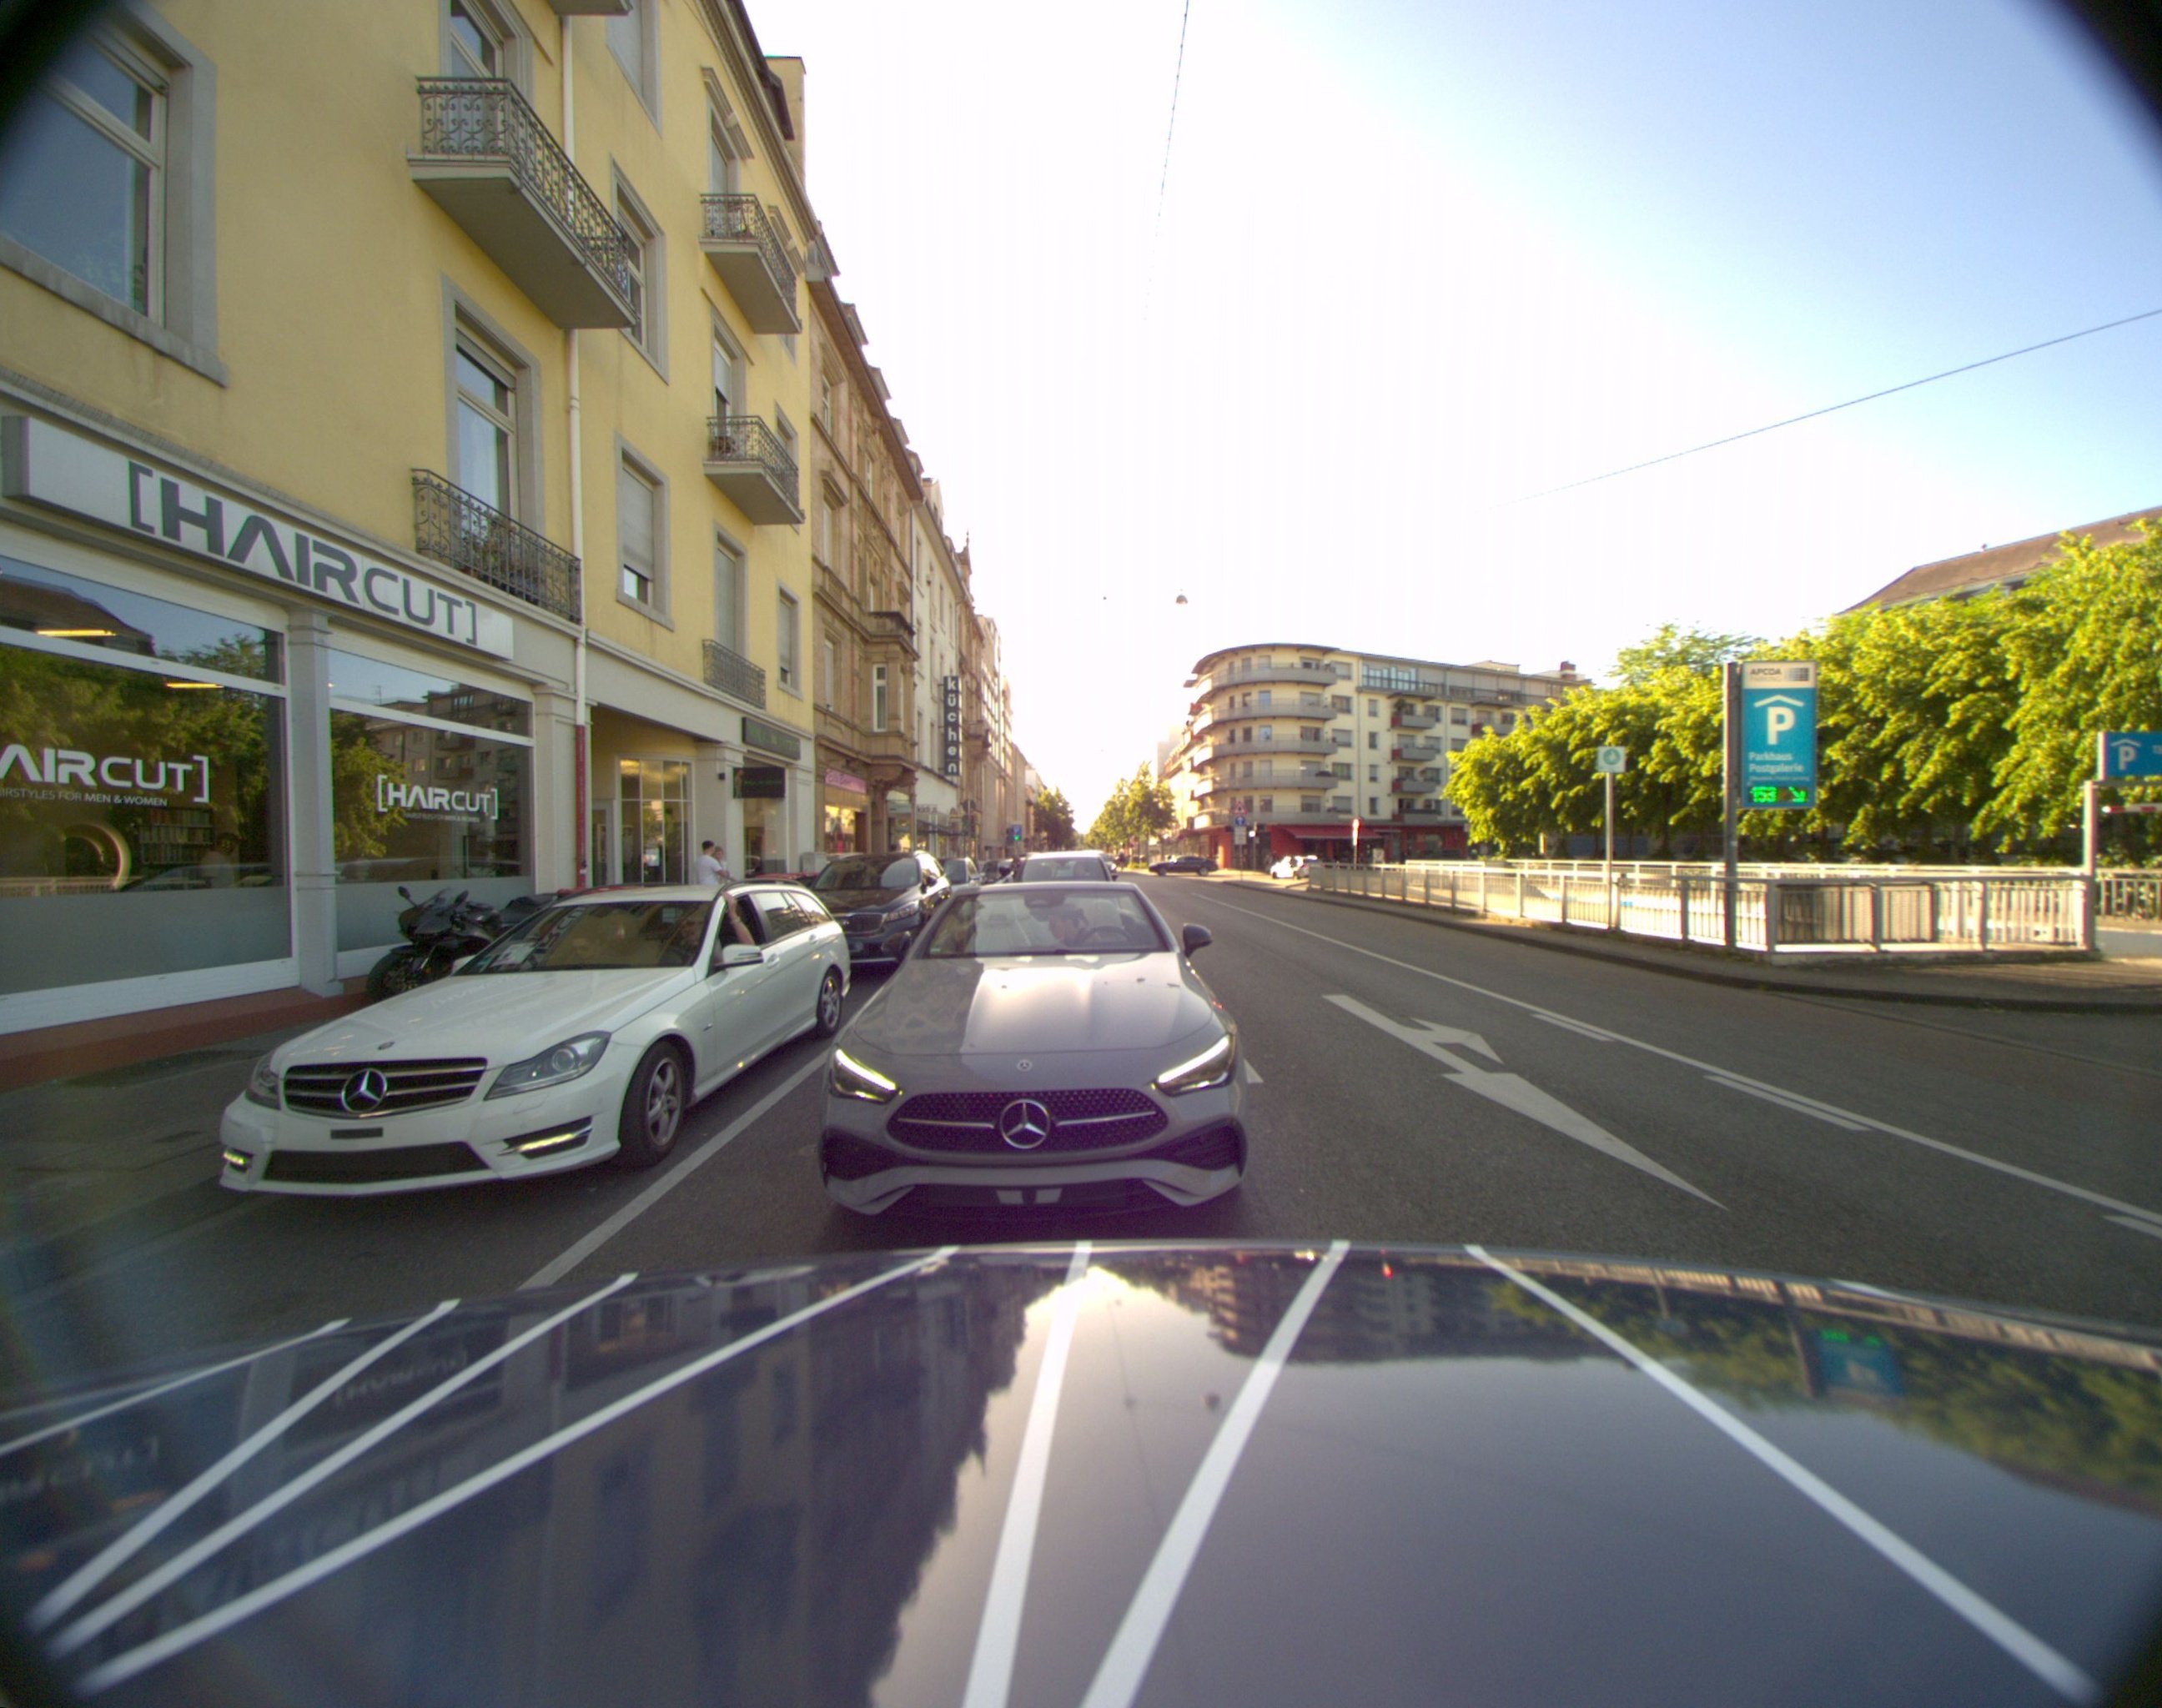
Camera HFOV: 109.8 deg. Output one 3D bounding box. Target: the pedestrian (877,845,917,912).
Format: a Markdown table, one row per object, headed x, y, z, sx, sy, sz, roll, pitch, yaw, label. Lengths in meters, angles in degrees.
| x | y | z | sx | sy | sz | roll | pitch | yaw | label |
| --- | --- | --- | --- | --- | --- | --- | --- | --- | --- |
| -4.598 | 0.602 | 19.019 | 0.795 | 1.607 | 0.763 | -1 | 1 | -1 | pedestrian |

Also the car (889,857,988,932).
| x | y | z | sx | sy | sz | roll | pitch | yaw | label |
| --- | --- | --- | --- | --- | --- | --- | --- | --- | --- |
| -3.267 | 0.892 | 17.957 | 1.696 | 1.559 | 3.018 | -1 | 0 | 1 | car |

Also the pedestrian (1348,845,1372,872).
| x | y | z | sx | sy | sz | roll | pitch | yaw | label |
| --- | --- | --- | --- | --- | --- | --- | --- | --- | --- |
| 21.762 | 0.337 | 59.247 | 1.234 | 2.002 | 1.259 | -2 | 1 | -21 | pedestrian |

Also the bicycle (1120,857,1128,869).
| x | y | z | sx | sy | sz | roll | pitch | yaw | label |
| --- | --- | --- | --- | --- | --- | --- | --- | --- | --- |
| 3.962 | 0.820 | 69.536 | 0.661 | 1.083 | 1.971 | -1 | 0 | 4 | bicycle |

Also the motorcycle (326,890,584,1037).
| x | y | z | sx | sy | sz | roll | pitch | yaw | label |
| --- | --- | --- | --- | --- | --- | --- | --- | --- | --- |
| -6.258 | 1.024 | 7.828 | 0.773 | 1.158 | 2.247 | 1 | 0 | 1 | motorcycle |

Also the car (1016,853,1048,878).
| x | y | z | sx | sy | sz | roll | pitch | yaw | label |
| --- | --- | --- | --- | --- | --- | --- | --- | --- | --- |
| -3.020 | 0.693 | 47.596 | 1.715 | 1.477 | 4.062 | -1 | 0 | 0 | car |

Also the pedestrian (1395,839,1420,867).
| x | y | z | sx | sy | sz | roll | pitch | yaw | label |
| --- | --- | --- | --- | --- | --- | --- | --- | --- | --- |
| 23.532 | -0.067 | 54.782 | 1.317 | 2.002 | 1.296 | -1 | 1 | 10 | pedestrian |

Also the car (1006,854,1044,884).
| x | y | z | sx | sy | sz | roll | pitch | yaw | label |
| --- | --- | --- | --- | --- | --- | --- | --- | --- | --- |
| -2.978 | 0.765 | 41.001 | 1.715 | 1.477 | 3.999 | -1 | 0 | 0 | car |

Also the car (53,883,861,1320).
| x | y | z | sx | sy | sz | roll | pitch | yaw | label |
| --- | --- | --- | --- | --- | --- | --- | --- | --- | --- |
| -3.071 | 1.045 | 5.242 | 1.759 | 1.453 | 4.597 | -1 | 0 | 0 | car |

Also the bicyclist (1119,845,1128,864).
| x | y | z | sx | sy | sz | roll | pitch | yaw | label |
| --- | --- | --- | --- | --- | --- | --- | --- | --- | --- |
| 3.919 | 0.062 | 69.583 | 0.757 | 1.651 | 1.144 | -2 | 1 | 5 | bicyclist |

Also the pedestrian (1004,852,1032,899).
| x | y | z | sx | sy | sz | roll | pitch | yaw | label |
| --- | --- | --- | --- | --- | --- | --- | --- | --- | --- |
| -2.279 | 0.768 | 27.548 | 0.694 | 1.657 | 0.833 | -2 | 1 | -29 | pedestrian |

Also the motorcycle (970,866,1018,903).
| x | y | z | sx | sy | sz | roll | pitch | yaw | label |
| --- | --- | --- | --- | --- | --- | --- | --- | --- | --- |
| -3.053 | 1.049 | 26.790 | 0.769 | 1.225 | 1.546 | -1 | 1 | 42 | motorcycle |

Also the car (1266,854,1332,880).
| x | y | z | sx | sy | sz | roll | pitch | yaw | label |
| --- | --- | --- | --- | --- | --- | --- | --- | --- | --- |
| 13.048 | 0.756 | 45.720 | 1.804 | 1.426 | 4.245 | -2 | 0 | -16 | car |

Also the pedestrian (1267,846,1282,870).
| x | y | z | sx | sy | sz | roll | pitch | yaw | label |
| --- | --- | --- | --- | --- | --- | --- | --- | --- | --- |
| 14.802 | 0.333 | 58.036 | 0.756 | 1.795 | 0.755 | -2 | 1 | -41 | pedestrian |

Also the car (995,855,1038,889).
| x | y | z | sx | sy | sz | roll | pitch | yaw | label |
| --- | --- | --- | --- | --- | --- | --- | --- | --- | --- |
| -3.046 | 0.815 | 36.483 | 1.715 | 1.477 | 3.999 | -1 | 0 | 0 | car |

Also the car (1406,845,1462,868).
| x | y | z | sx | sy | sz | roll | pitch | yaw | label |
| --- | --- | --- | --- | --- | --- | --- | --- | --- | --- |
| 29.039 | 0.178 | 62.452 | 4.004 | 1.740 | 1.996 | -2 | 1 | -23 | car |

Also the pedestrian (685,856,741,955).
| x | y | z | sx | sy | sz | roll | pitch | yaw | label |
| --- | --- | --- | --- | --- | --- | --- | --- | --- | --- |
| -6.173 | 0.843 | 12.766 | 0.572 | 1.607 | 0.643 | -1 | 1 | 2 | pedestrian |

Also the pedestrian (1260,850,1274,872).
| x | y | z | sx | sy | sz | roll | pitch | yaw | label |
| --- | --- | --- | --- | --- | --- | --- | --- | --- | --- |
| 14.107 | 0.522 | 57.634 | 0.675 | 1.696 | 0.698 | -2 | 1 | -20 | pedestrian |

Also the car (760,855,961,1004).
| x | y | z | sx | sy | sz | roll | pitch | yaw | label |
| --- | --- | --- | --- | --- | --- | --- | --- | --- | --- |
| -2.984 | 0.893 | 11.374 | 1.858 | 1.688 | 4.697 | -1 | 0 | -4 | car |

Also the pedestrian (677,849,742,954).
| x | y | z | sx | sy | sz | roll | pitch | yaw | label |
| --- | --- | --- | --- | --- | --- | --- | --- | --- | --- |
| -5.874 | 0.732 | 12.056 | 0.642 | 1.607 | 0.701 | -1 | 1 | -1 | pedestrian |

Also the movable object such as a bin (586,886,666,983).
| x | y | z | sx | sy | sz | roll | pitch | yaw | label |
| --- | --- | --- | --- | --- | --- | --- | --- | --- | --- |
| -6.055 | 1.055 | 10.142 | 0.647 | 1.200 | 0.644 | -1 | 1 | 1 | movable object such as a bin |

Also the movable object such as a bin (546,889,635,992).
| x | y | z | sx | sy | sz | roll | pitch | yaw | label |
| --- | --- | --- | --- | --- | --- | --- | --- | --- | --- |
| -6.105 | 1.064 | 9.490 | 0.647 | 1.200 | 0.644 | -1 | 1 | 1 | movable object such as a bin |

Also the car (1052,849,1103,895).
| x | y | z | sx | sy | sz | roll | pitch | yaw | label |
| --- | --- | --- | --- | --- | --- | --- | --- | --- | --- |
| -0.094 | 0.683 | 31.681 | 1.952 | 1.742 | 4.000 | -1 | 0 | 1 | car |

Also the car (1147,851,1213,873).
| x | y | z | sx | sy | sz | roll | pitch | yaw | label |
| --- | --- | --- | --- | --- | --- | --- | --- | --- | --- |
| 6.799 | 0.542 | 52.496 | 4.286 | 1.375 | 2.000 | -1 | 0 | 0 | car |

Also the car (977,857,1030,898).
| x | y | z | sx | sy | sz | roll | pitch | yaw | label |
| --- | --- | --- | --- | --- | --- | --- | --- | --- | --- |
| -3.081 | 0.905 | 30.730 | 1.715 | 1.477 | 3.999 | -1 | 0 | 0 | car |

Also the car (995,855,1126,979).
| x | y | z | sx | sy | sz | roll | pitch | yaw | label |
| --- | --- | --- | --- | --- | --- | --- | --- | --- | --- |
| -0.247 | 0.851 | 12.179 | 1.716 | 1.599 | 4.000 | -1 | 0 | 1 | car |

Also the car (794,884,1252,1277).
| x | y | z | sx | sy | sz | roll | pitch | yaw | label |
| --- | --- | --- | --- | --- | --- | --- | --- | --- | --- |
| -0.255 | 1.021 | 5.271 | 1.849 | 1.371 | 4.255 | -2 | 0 | -1 | car |

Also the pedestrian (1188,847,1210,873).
| x | y | z | sx | sy | sz | roll | pitch | yaw | label |
| --- | --- | --- | --- | --- | --- | --- | --- | --- | --- |
| 9.214 | 0.471 | 59.365 | 1.202 | 2.002 | 1.018 | -3 | 1 | -37 | pedestrian |
